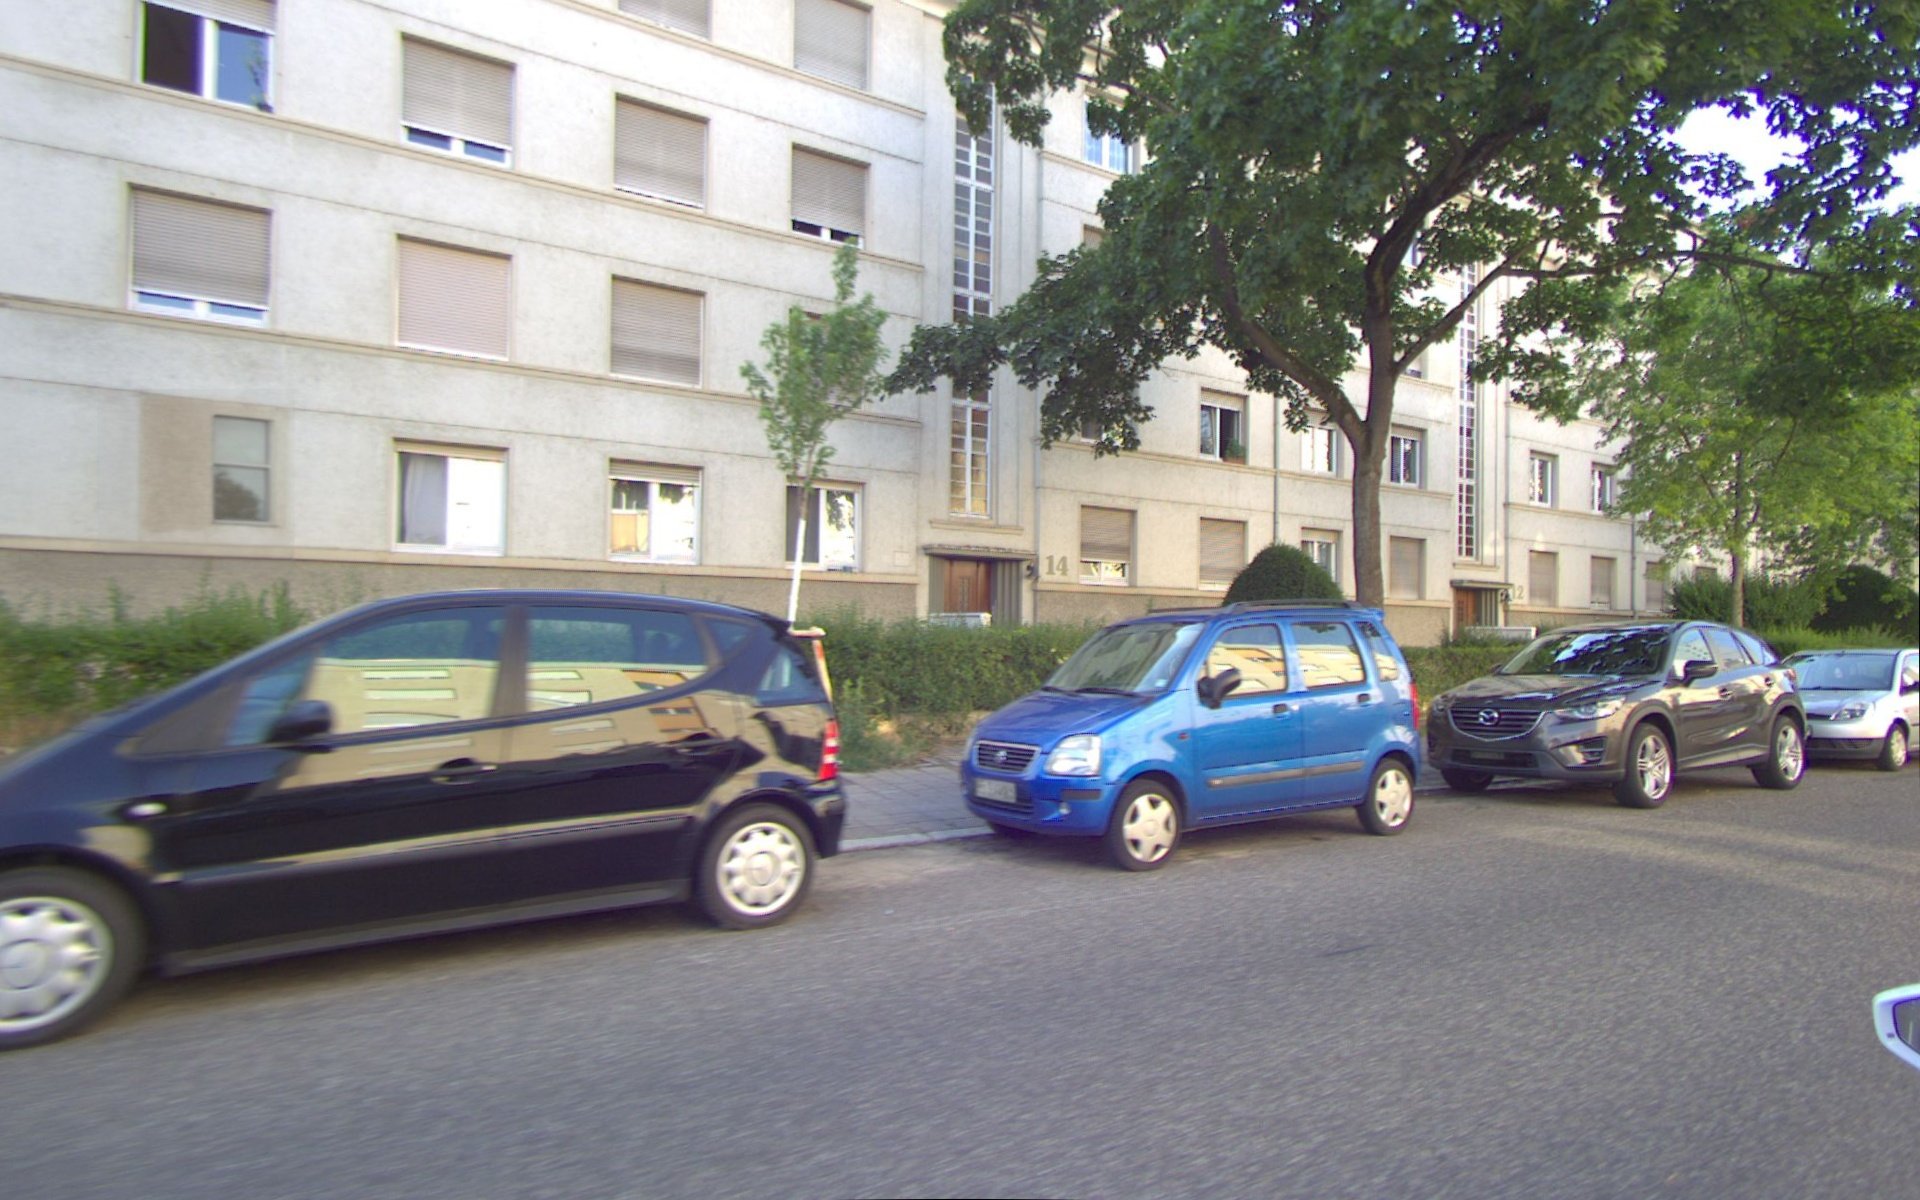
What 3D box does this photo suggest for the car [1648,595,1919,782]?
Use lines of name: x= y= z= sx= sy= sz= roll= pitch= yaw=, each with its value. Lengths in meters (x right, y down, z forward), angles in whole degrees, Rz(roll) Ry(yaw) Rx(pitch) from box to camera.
car: x=10.916 y=1.099 z=12.845 sx=3.954 sy=2.039 sz=1.984 roll=3 pitch=-4 yaw=-30

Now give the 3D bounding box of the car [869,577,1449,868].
car: x=1.531 y=0.775 z=7.300 sx=3.957 sy=1.572 sz=1.863 roll=3 pitch=-3 yaw=-32

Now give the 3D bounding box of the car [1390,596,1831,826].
car: x=6.477 y=1.004 z=9.860 sx=4.639 sy=1.782 sz=1.863 roll=3 pitch=-4 yaw=-33

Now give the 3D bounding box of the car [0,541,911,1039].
car: x=-2.404 y=0.700 z=4.715 sx=3.957 sy=1.572 sz=1.863 roll=3 pitch=-4 yaw=-33

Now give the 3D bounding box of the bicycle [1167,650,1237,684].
bicycle: x=5.517 y=1.525 z=22.886 sx=1.769 sy=0.718 sz=0.406 roll=3 pitch=0 yaw=-32

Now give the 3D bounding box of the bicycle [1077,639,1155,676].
bicycle: x=3.286 y=1.215 z=21.100 sx=1.769 sy=0.718 sz=0.406 roll=3 pitch=0 yaw=-32

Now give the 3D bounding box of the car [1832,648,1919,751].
car: x=15.561 y=1.504 z=15.496 sx=4.752 sy=1.452 sz=1.864 roll=3 pitch=-6 yaw=-32
